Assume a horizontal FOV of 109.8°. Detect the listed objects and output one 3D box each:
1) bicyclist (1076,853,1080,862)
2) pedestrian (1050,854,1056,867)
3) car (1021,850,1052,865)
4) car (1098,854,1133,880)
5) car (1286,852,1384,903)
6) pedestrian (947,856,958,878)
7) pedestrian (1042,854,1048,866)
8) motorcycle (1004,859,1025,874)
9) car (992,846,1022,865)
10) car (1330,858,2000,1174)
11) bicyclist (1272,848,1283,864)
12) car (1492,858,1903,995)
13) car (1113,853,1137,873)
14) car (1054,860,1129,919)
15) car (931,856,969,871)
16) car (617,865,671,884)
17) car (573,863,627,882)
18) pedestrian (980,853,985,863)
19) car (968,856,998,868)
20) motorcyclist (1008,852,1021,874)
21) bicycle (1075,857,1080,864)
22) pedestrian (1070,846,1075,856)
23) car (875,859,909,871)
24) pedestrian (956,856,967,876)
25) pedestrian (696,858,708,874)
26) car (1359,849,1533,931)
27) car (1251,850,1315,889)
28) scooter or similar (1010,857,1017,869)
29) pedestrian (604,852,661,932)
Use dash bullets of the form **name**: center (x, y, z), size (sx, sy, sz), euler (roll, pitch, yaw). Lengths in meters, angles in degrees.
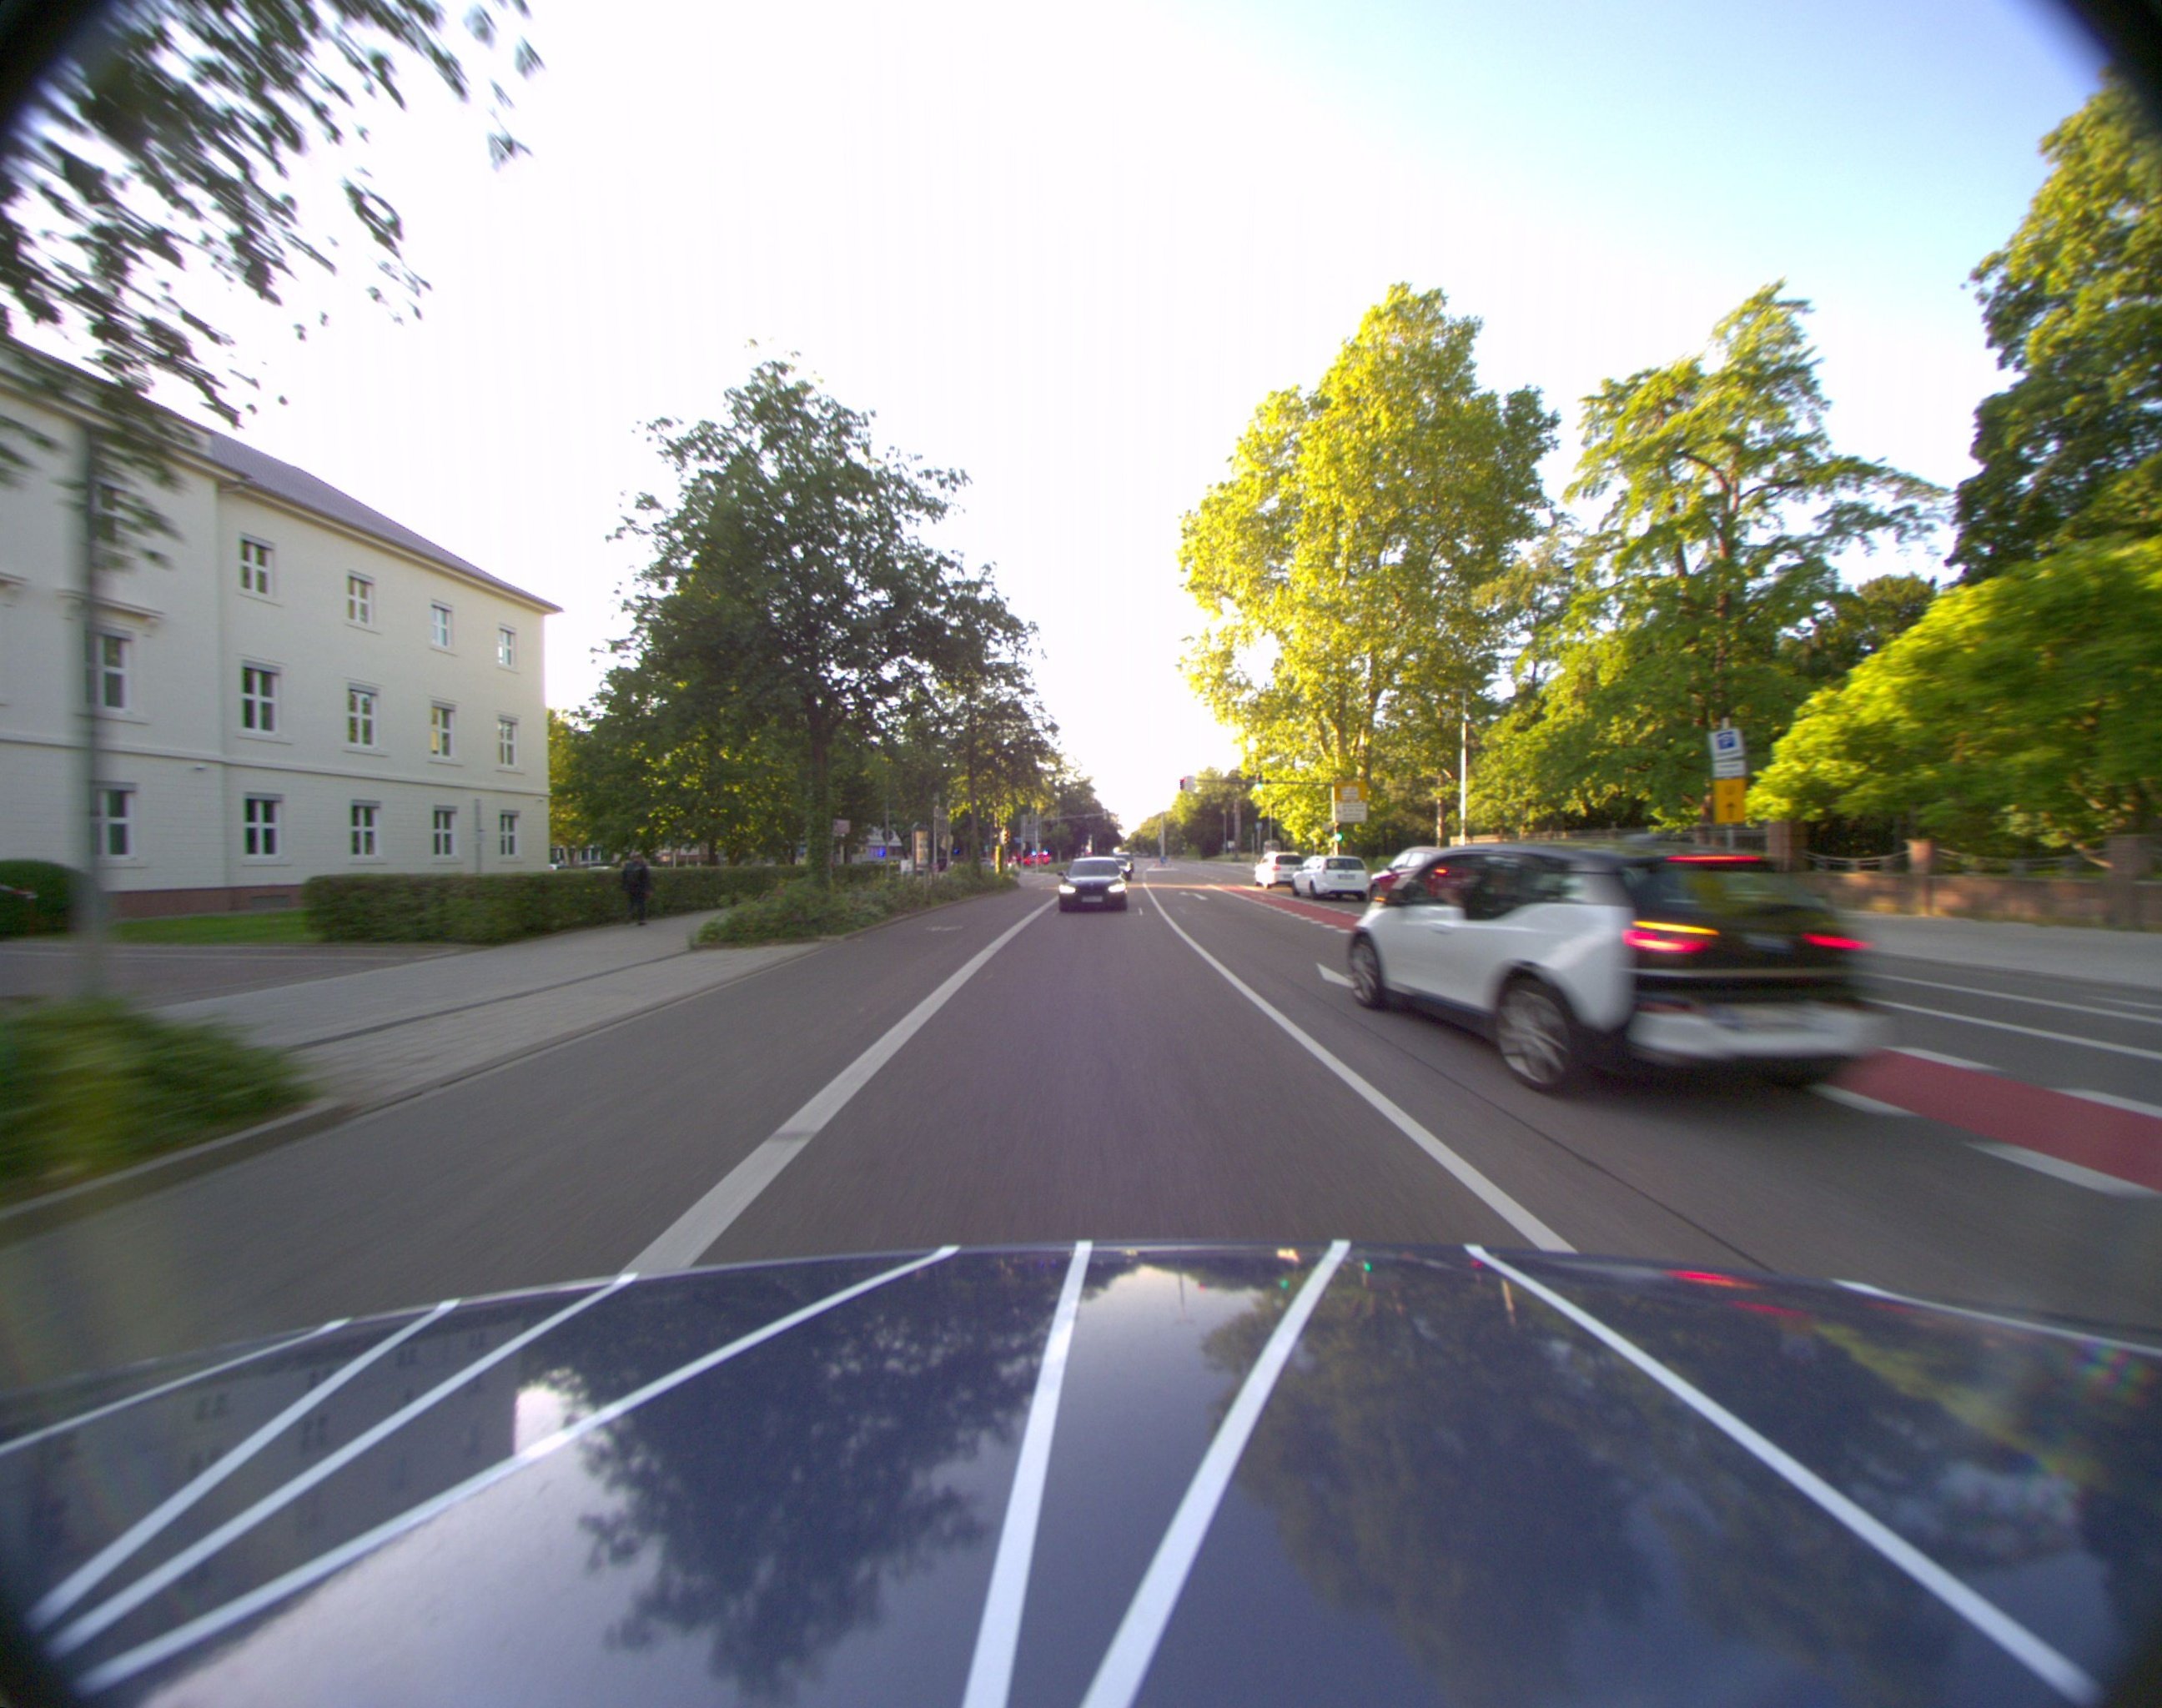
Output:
- **bicyclist**: center (-0.613, 0.662, 135.462), size (0.571, 1.623, 1.038), euler (-1, 1, 6)
- **pedestrian**: center (-3.373, 0.800, 92.320), size (0.721, 1.650, 0.776), euler (-1, 1, -2)
- **car**: center (-7.695, 0.590, 131.704), size (5.162, 2.379, 2.001), euler (-1, 0, 9)
- **car**: center (2.109, 0.758, 45.344), size (1.849, 1.346, 4.705), euler (-4, 0, 4)
- **car**: center (8.561, 0.734, 26.072), size (1.921, 1.574, 4.675), euler (1, 0, 2)
- **pedestrian**: center (-10.387, 1.032, 61.315), size (0.682, 1.743, 0.689), euler (-1, 0, 6)
- **pedestrian**: center (-4.402, 0.711, 92.322), size (0.737, 1.514, 0.789), euler (-1, 1, -2)
- **motorcycle**: center (-5.533, 1.068, 63.450), size (0.682, 1.190, 1.897), euler (-2, 0, 31)
- **car**: center (-13.115, 0.201, 134.770), size (2.769, 3.224, 8.305), euler (-1, 0, 13)
- **car**: center (3.553, 0.800, 5.742), size (1.854, 1.517, 3.999), euler (0, 0, -3)
- **bicyclist**: center (17.342, 0.154, 67.064), size (0.791, 1.419, 0.892), euler (-1, 1, 6)
- **car**: center (7.879, 0.782, 10.519), size (1.921, 1.409, 4.770), euler (1, 0, 2)
- **car**: center (3.666, 0.705, 63.500), size (1.850, 1.473, 4.704), euler (-4, 0, 4)
- **car**: center (0.409, 0.896, 21.437), size (1.817, 1.391, 5.214), euler (-2, 0, 3)
- **car**: center (-15.667, 1.126, 90.980), size (3.993, 1.601, 1.921), euler (-1, 0, 13)
- **car**: center (-39.979, 1.831, 69.481), size (3.993, 1.630, 1.902), euler (-1, 0, 13)
- **car**: center (-44.526, 1.728, 70.369), size (3.993, 1.602, 2.002), euler (-1, 0, 12)
- **pedestrian**: center (-17.550, 0.732, 135.635), size (0.682, 1.831, 0.846), euler (-1, 0, 6)
- **car**: center (-13.300, 1.107, 103.265), size (3.660, 1.451, 1.666), euler (-1, 0, 11)
- **motorcyclist**: center (-5.548, 0.754, 63.453), size (0.738, 1.727, 0.692), euler (-2, 0, 31)
- **bicycle**: center (-0.604, 1.125, 135.423), size (0.571, 1.233, 1.900), euler (-1, 0, 6)
- **pedestrian**: center (-1.270, -0.466, 119.616), size (0.682, 1.613, 0.689), euler (-1, 0, 6)
- **car**: center (-25.170, 1.409, 101.331), size (3.909, 1.512, 1.920), euler (-1, 0, 15)
- **pedestrian**: center (-9.644, 0.945, 61.212), size (0.682, 1.613, 0.845), euler (-1, 0, 6)
- **pedestrian**: center (-39.762, 1.244, 79.714), size (0.894, 1.728, 0.705), euler (-1, 1, 15)
- **car**: center (8.138, 0.716, 17.512), size (1.921, 1.615, 4.639), euler (1, 0, 2)
- **car**: center (9.213, 0.657, 35.056), size (1.921, 1.686, 4.427), euler (1, 0, 2)
- **scooter or similar**: center (-7.276, 1.006, 81.790), size (0.441, 1.264, 1.179), euler (-1, 0, 6)
- **pedestrian**: center (-10.079, 0.836, 17.089), size (0.772, 1.728, 0.807), euler (-1, 1, -3)
